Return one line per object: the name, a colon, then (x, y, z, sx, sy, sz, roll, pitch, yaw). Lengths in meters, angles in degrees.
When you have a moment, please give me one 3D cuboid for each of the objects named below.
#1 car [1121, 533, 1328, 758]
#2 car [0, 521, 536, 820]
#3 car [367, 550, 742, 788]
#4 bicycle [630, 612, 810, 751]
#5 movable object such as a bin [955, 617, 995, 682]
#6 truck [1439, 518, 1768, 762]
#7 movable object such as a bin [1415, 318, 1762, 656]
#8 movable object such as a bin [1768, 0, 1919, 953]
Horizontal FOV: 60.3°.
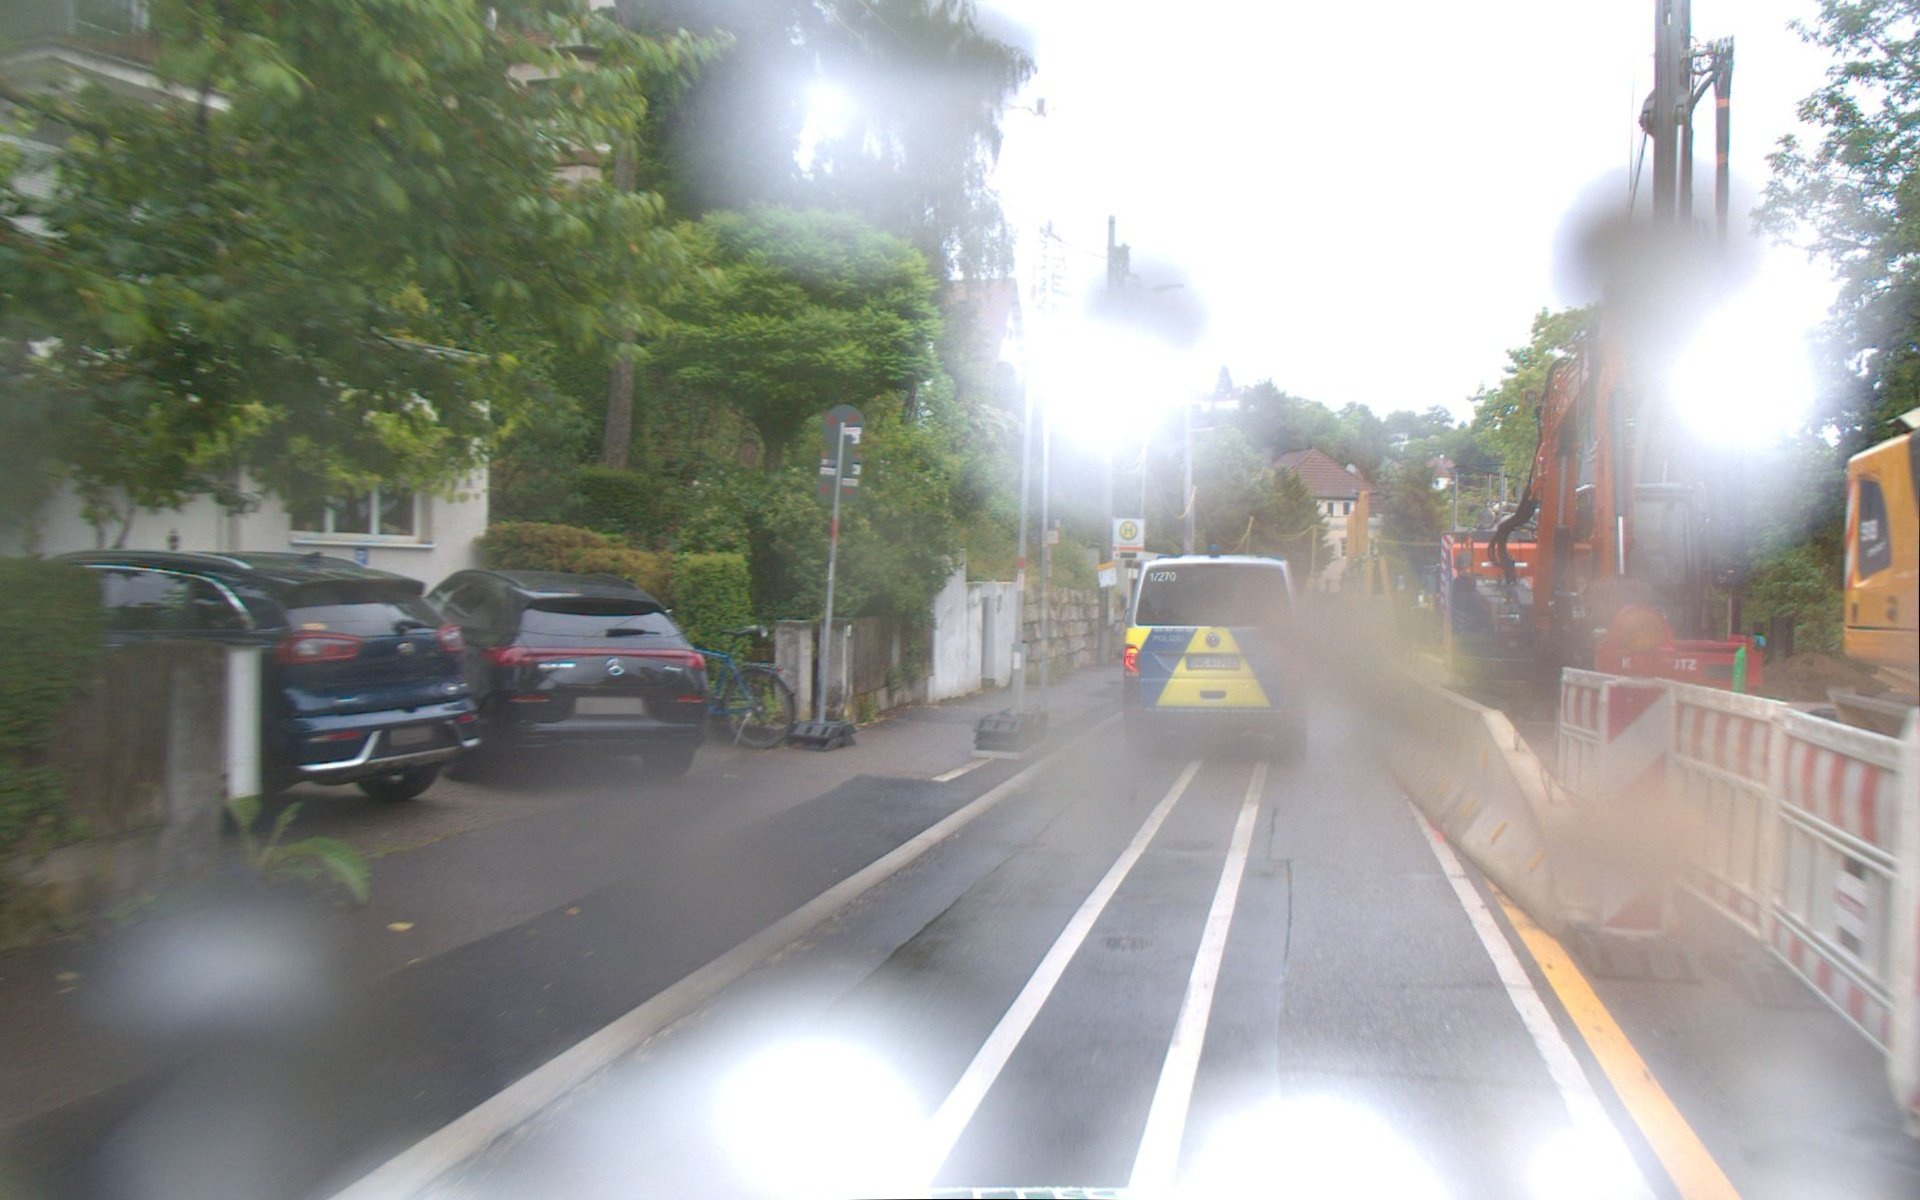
car: (2.901, 0.448, 17.770, 1.867, 2.045, 4.443, 2, -1, 11)
car: (-4.901, 0.347, 10.366, 3.905, 1.552, 1.941, 2, -1, 21)
car: (-3.320, 0.443, 12.962, 1.762, 1.552, 3.959, 2, 0, -30)
bicycle: (-2.162, 0.714, 14.840, 1.586, 1.151, 0.443, 2, -1, 26)
movable object such as a bin: (0.238, 0.763, 25.687, 0.496, 0.982, 0.498, 2, -1, 12)
truck: (6.193, 0.378, 16.403, 2.496, 2.145, 3.306, 0, -1, 11)
movable object such as a bin: (11.210, -1.665, 29.084, 3.625, 5.155, 7.126, -1, -1, 40)
movable object such as a bin: (5.484, -0.664, 7.057, 2.817, 4.243, 4.491, 0, 1, 15)
